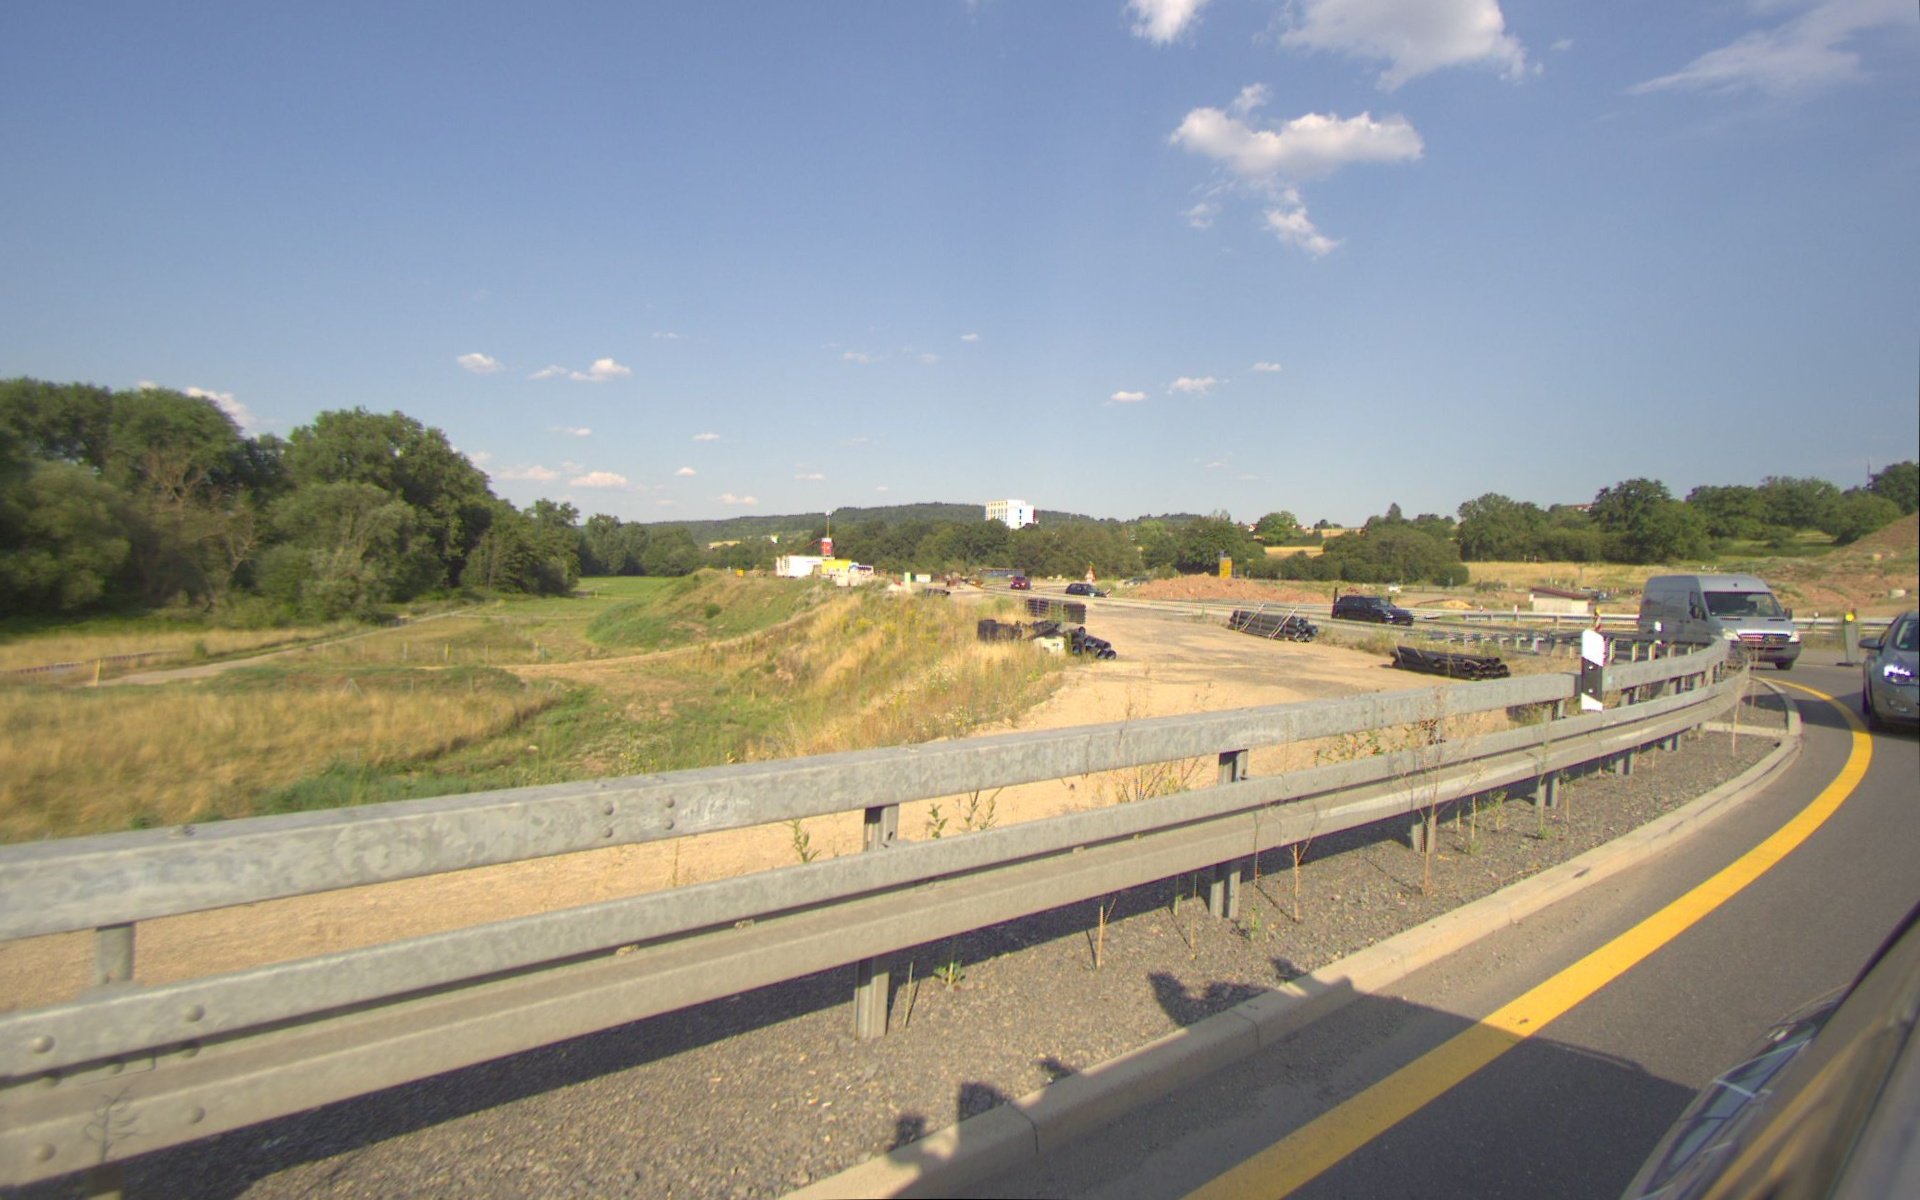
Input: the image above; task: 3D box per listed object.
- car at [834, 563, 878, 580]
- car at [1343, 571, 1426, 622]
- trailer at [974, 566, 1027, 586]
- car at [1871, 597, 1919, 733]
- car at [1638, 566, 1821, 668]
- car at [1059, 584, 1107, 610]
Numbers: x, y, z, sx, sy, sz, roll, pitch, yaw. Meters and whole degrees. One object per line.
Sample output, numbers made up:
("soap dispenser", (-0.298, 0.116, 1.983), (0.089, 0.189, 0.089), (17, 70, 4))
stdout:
("car", (-13.664, -3.726, 133.453), (5.211, 2.104, 2.492), (0, 3, -27))
("car", (21.844, -0.224, 52.271), (1.837, 2.432, 4.010), (1, 2, -14))
("trailer", (5.301, -3.123, 132.054), (3.003, 2.443, 7.119), (2, 2, 42))
("car", (12.604, 0.731, 12.211), (4.174, 1.503, 1.747), (0, 0, -39))
("car", (21.628, 0.337, 28.818), (1.889, 2.531, 5.775), (2, 3, 14))
("car", (9.564, -0.224, 79.161), (1.604, 1.808, 4.134), (0, 3, -29))
